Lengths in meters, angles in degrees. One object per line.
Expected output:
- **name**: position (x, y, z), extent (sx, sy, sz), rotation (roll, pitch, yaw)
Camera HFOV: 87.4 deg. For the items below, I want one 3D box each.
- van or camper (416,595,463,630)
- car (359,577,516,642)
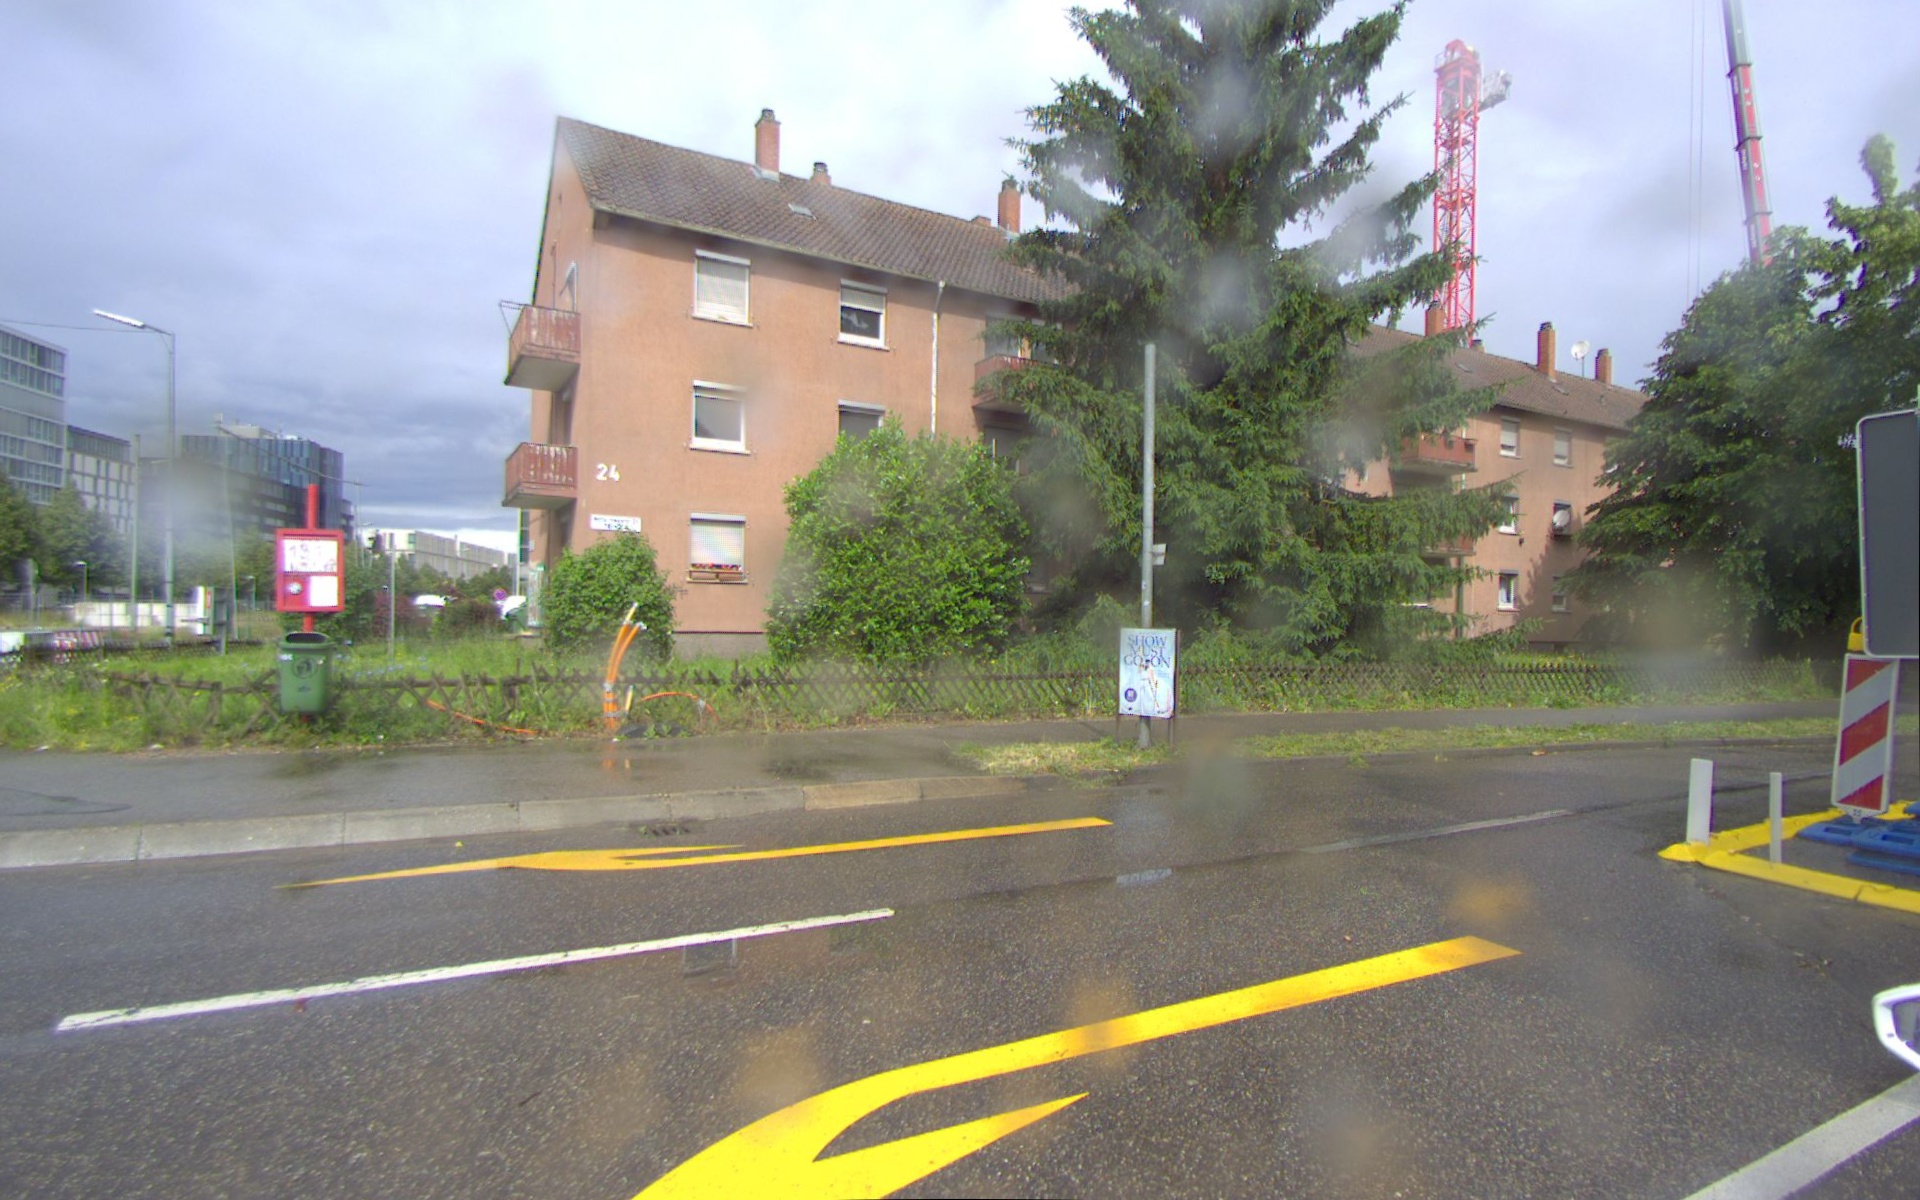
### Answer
- **van or camper**: position (-36.665, 0.862, 70.850), extent (1.967, 2.341, 4.868), rotation (1, -1, -16)
- **car**: position (-17.233, 0.304, 33.275), extent (4.239, 2.045, 1.715), rotation (1, 0, -3)
